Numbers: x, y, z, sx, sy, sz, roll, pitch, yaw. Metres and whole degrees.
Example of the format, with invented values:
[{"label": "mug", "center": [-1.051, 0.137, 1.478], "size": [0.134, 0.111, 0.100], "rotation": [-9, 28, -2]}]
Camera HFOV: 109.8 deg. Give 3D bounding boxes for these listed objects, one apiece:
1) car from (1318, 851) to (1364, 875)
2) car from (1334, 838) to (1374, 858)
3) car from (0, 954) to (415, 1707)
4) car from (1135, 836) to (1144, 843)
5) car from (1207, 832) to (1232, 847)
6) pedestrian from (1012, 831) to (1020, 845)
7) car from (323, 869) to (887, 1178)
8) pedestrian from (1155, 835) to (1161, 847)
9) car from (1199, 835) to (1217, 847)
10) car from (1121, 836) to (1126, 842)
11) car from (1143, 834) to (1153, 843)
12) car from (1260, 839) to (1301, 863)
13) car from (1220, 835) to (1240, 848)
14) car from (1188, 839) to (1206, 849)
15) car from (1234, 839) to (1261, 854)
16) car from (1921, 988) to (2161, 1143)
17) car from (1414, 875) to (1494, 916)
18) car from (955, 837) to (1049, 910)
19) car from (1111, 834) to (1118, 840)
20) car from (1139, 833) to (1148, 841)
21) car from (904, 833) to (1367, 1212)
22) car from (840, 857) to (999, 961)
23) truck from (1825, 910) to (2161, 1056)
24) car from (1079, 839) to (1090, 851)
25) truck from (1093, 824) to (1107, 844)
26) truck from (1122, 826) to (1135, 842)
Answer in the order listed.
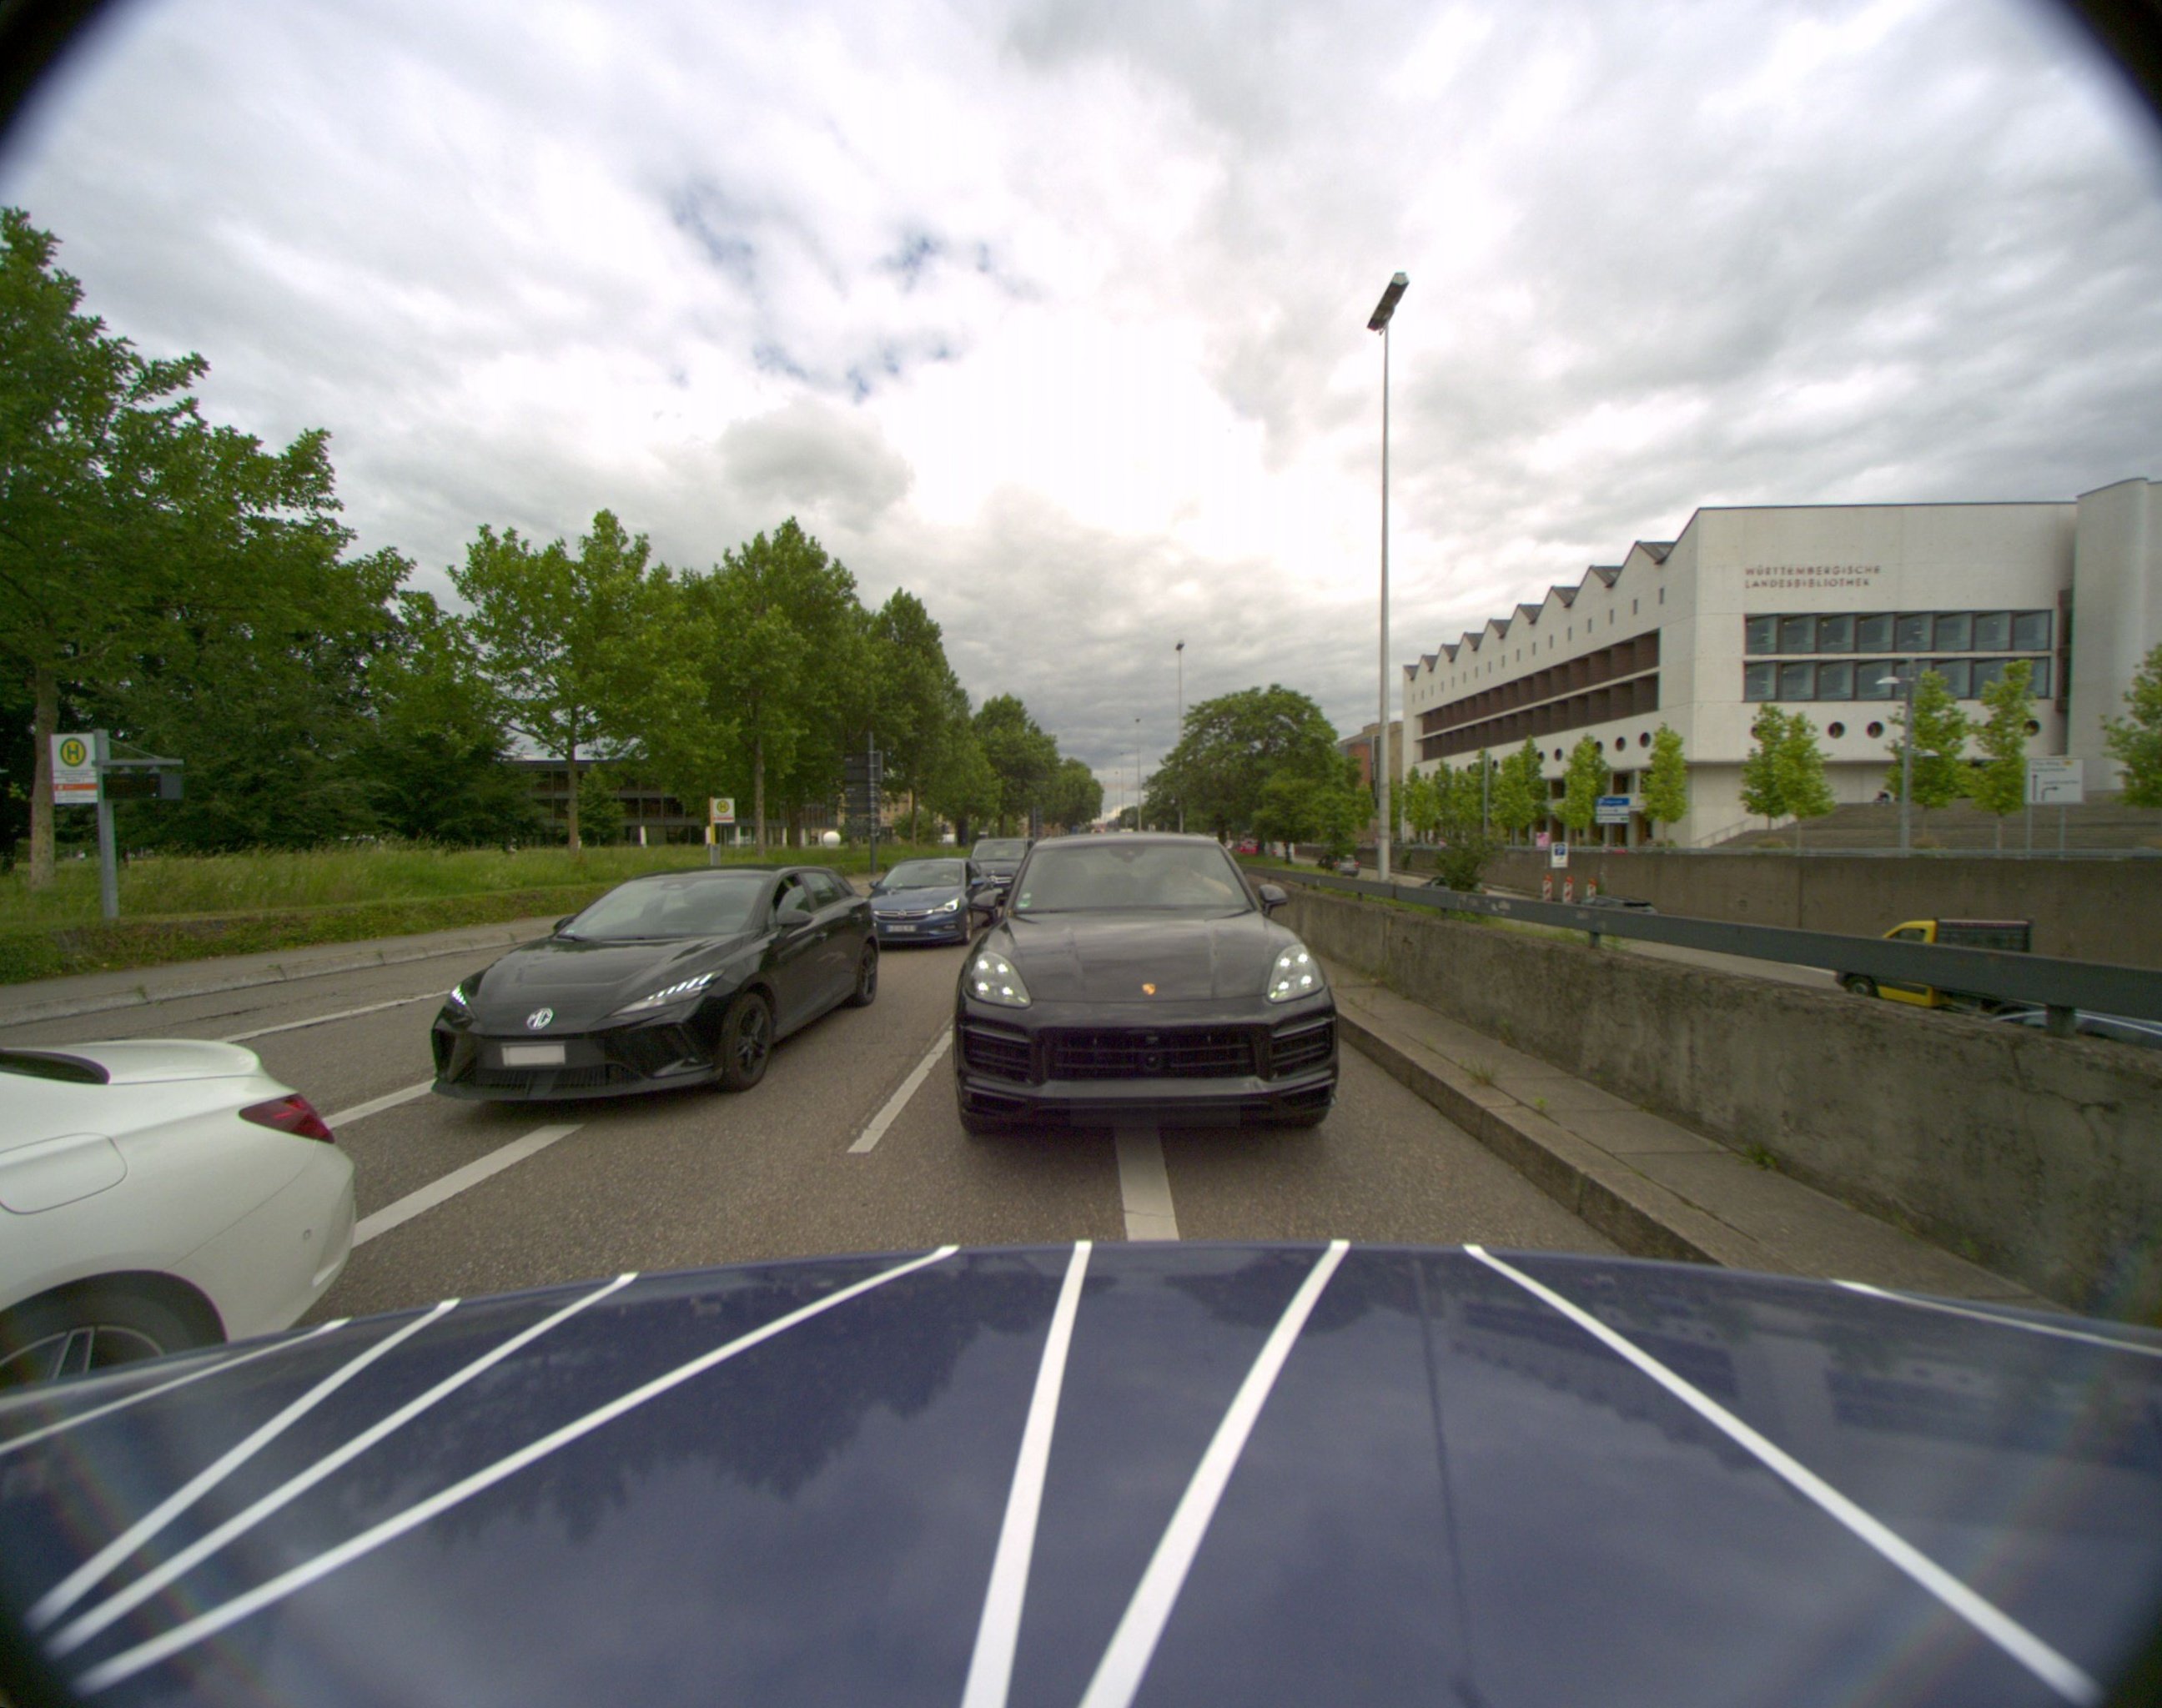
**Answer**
[{"label": "car", "center": [17.927, 0.603, 52.502], "size": [1.880, 1.539, 3.999], "rotation": [-1, 1, 1]}, {"label": "car", "center": [26.868, -0.575, 74.894], "size": [2.180, 1.844, 4.735], "rotation": [-1, 1, -1]}, {"label": "car", "center": [-3.173, 1.096, 0.222], "size": [1.799, 1.412, 4.526], "rotation": [-1, 1, 2]}, {"label": "car", "center": [11.450, -2.830, 148.845], "size": [1.372, 1.389, 3.722], "rotation": [-1, -1, -1]}, {"label": "car", "center": [16.953, -1.822, 93.451], "size": [1.998, 1.630, 5.247], "rotation": [5, 3, 0]}, {"label": "pedestrian", "center": [-9.577, -2.359, 111.732], "size": [0.892, 2.002, 1.181], "rotation": [-3, 2, 2]}, {"label": "car", "center": [-3.094, 0.968, 6.155], "size": [1.852, 1.481, 4.092], "rotation": [-1, 1, 2]}, {"label": "pedestrian", "center": [12.882, -2.157, 127.204], "size": [0.792, 2.002, 0.741], "rotation": [-1, 0, 2]}, {"label": "car", "center": [17.334, -1.802, 103.670], "size": [1.779, 1.481, 4.143], "rotation": [0, 4, 0]}, {"label": "car", "center": [11.326, -3.967, 202.332], "size": [1.525, 1.389, 3.479], "rotation": [-1, -1, 3]}, {"label": "car", "center": [11.892, -2.757, 134.400], "size": [1.372, 1.390, 3.721], "rotation": [2, 1, 0]}, {"label": "car", "center": [17.577, -0.308, 67.221], "size": [2.224, 2.002, 5.115], "rotation": [-1, 1, -1]}, {"label": "car", "center": [19.894, -1.672, 101.608], "size": [1.780, 1.481, 4.142], "rotation": [0, 4, -2]}, {"label": "car", "center": [16.702, -1.505, 109.944], "size": [1.998, 1.390, 3.999], "rotation": [2, 1, 0]}, {"label": "car", "center": [17.383, -0.770, 79.491], "size": [1.998, 1.477, 4.000], "rotation": [-1, 1, 2]}, {"label": "car", "center": [17.006, 3.448, 12.496], "size": [1.816, 1.562, 4.168], "rotation": [-3, 2, 1]}, {"label": "car", "center": [17.523, 1.898, 35.902], "size": [1.717, 1.533, 3.906], "rotation": [-3, 2, -2]}, {"label": "car", "center": [-2.127, 0.458, 21.983], "size": [2.021, 1.823, 4.804], "rotation": [-1, 1, 2]}, {"label": "car", "center": [10.449, -5.289, 236.088], "size": [1.998, 1.753, 3.999], "rotation": [2, 2, 0]}, {"label": "car", "center": [11.741, -3.128, 141.918], "size": [1.372, 1.390, 3.721], "rotation": [2, 1, 0]}, {"label": "car", "center": [0.352, 0.670, 5.549], "size": [1.904, 1.581, 4.732], "rotation": [-1, 1, 3]}, {"label": "car", "center": [-2.653, 0.843, 13.461], "size": [1.805, 1.426, 4.015], "rotation": [-1, 1, 2]}, {"label": "truck", "center": [20.442, 2.662, 17.120], "size": [2.187, 2.386, 5.380], "rotation": [-1, 0, 2]}, {"label": "car", "center": [0.642, -1.701, 136.030], "size": [1.693, 2.002, 3.999], "rotation": [-3, 2, 2]}, {"label": "truck", "center": [3.630, -3.807, 142.603], "size": [2.357, 3.518, 9.423], "rotation": [-3, 2, 2]}, {"label": "truck", "center": [10.689, -4.560, 171.743], "size": [2.576, 3.289, 8.078], "rotation": [-3, 2, 2]}]
